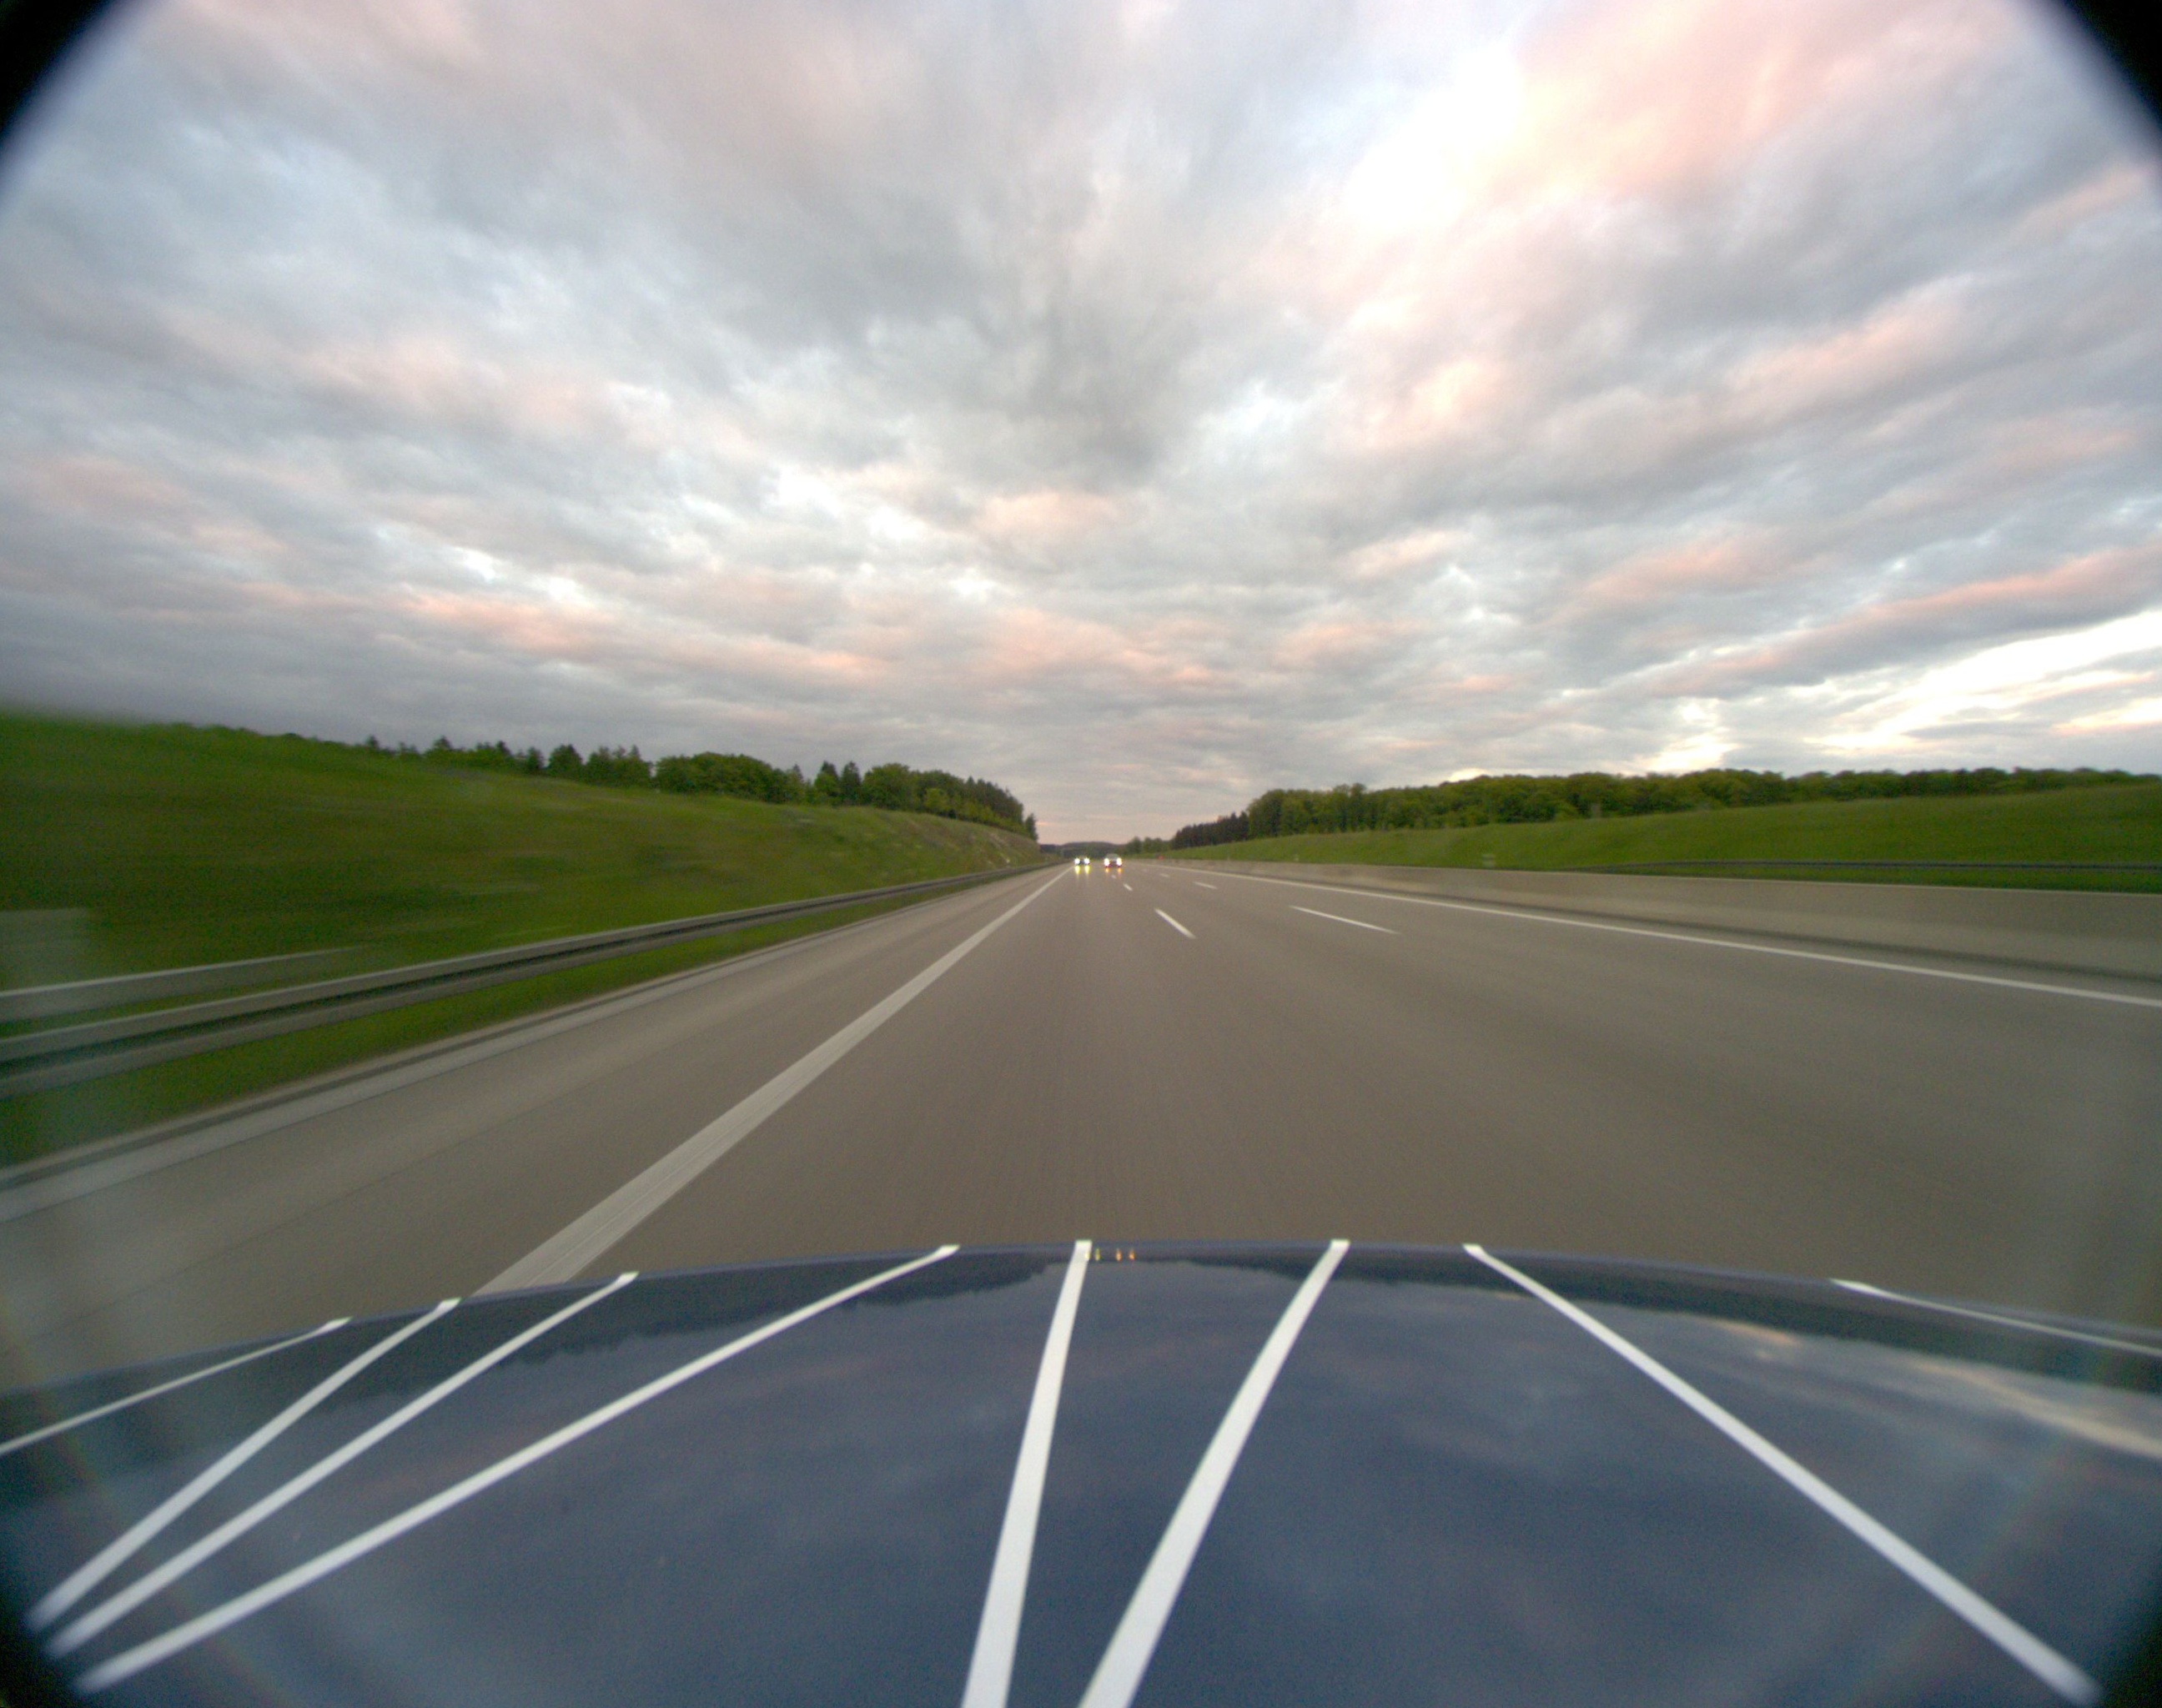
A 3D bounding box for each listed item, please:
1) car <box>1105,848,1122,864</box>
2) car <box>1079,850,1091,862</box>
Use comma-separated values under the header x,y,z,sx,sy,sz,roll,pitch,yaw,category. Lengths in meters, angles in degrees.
x,y,z,sx,sy,sz,roll,pitch,yaw,category
3.909,0.212,92.316,1.857,1.683,5.511,-2,1,0,car
0.647,0.281,121.442,1.801,1.674,4.384,-1,2,0,car
